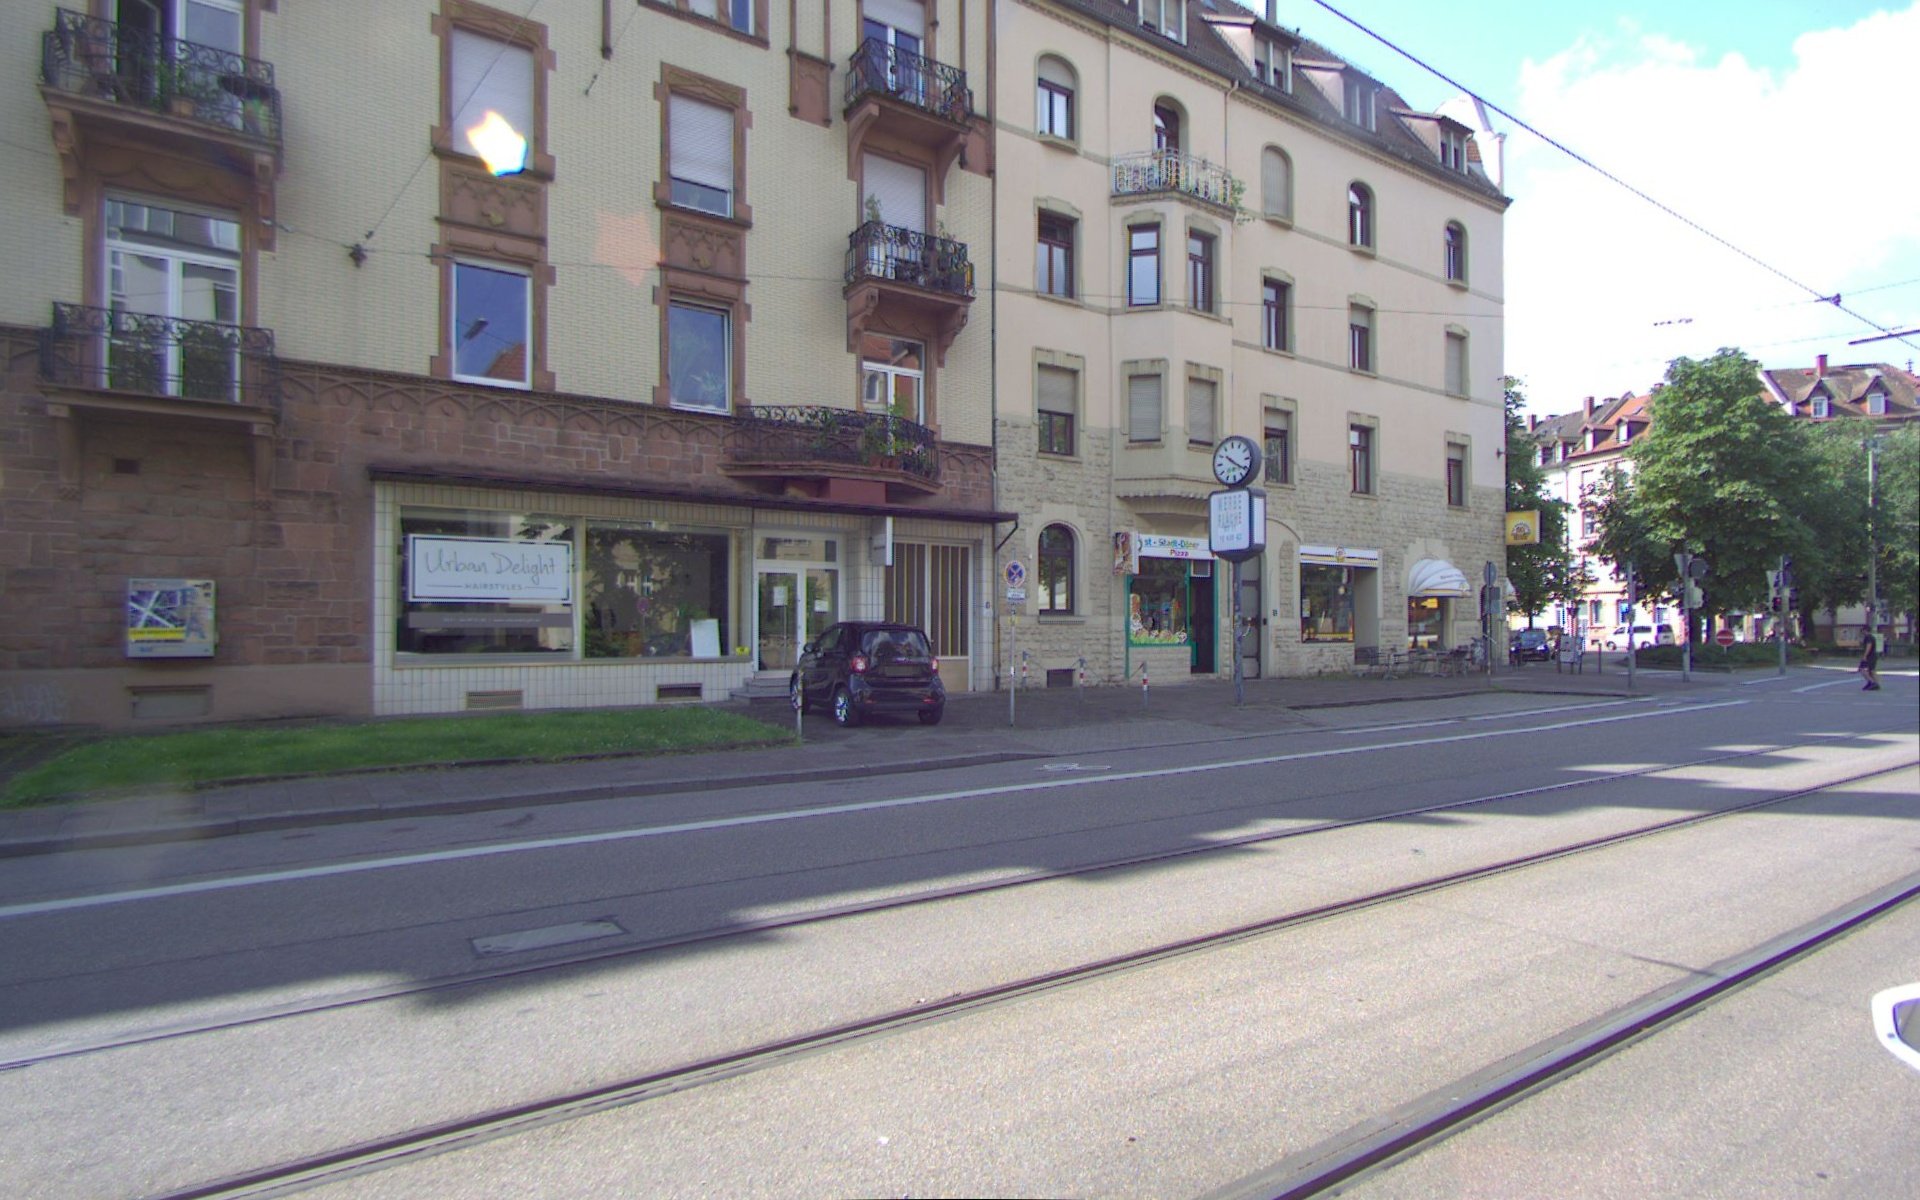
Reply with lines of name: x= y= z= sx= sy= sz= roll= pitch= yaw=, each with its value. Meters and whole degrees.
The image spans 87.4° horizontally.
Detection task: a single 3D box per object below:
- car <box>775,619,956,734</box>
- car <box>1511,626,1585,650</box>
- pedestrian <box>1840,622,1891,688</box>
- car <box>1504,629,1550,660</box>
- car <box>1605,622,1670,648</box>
car: x=-1.597 y=1.130 z=16.100 sx=1.716 sy=1.505 sz=3.163 roll=1 pitch=1 yaw=-30
car: x=40.319 y=2.583 z=68.937 sx=1.976 sy=1.617 sz=3.970 roll=1 pitch=-2 yaw=-29
pedestrian: x=23.695 y=1.432 z=26.286 sx=0.690 sy=1.706 sz=0.750 roll=0 pitch=-1 yaw=-21
car: x=29.726 y=2.296 z=52.614 sx=1.732 sy=1.538 sz=4.056 roll=-1 pitch=-2 yaw=35
car: x=50.535 y=2.593 z=75.024 sx=1.962 sy=1.929 sz=3.997 roll=0 pitch=-2 yaw=-5
